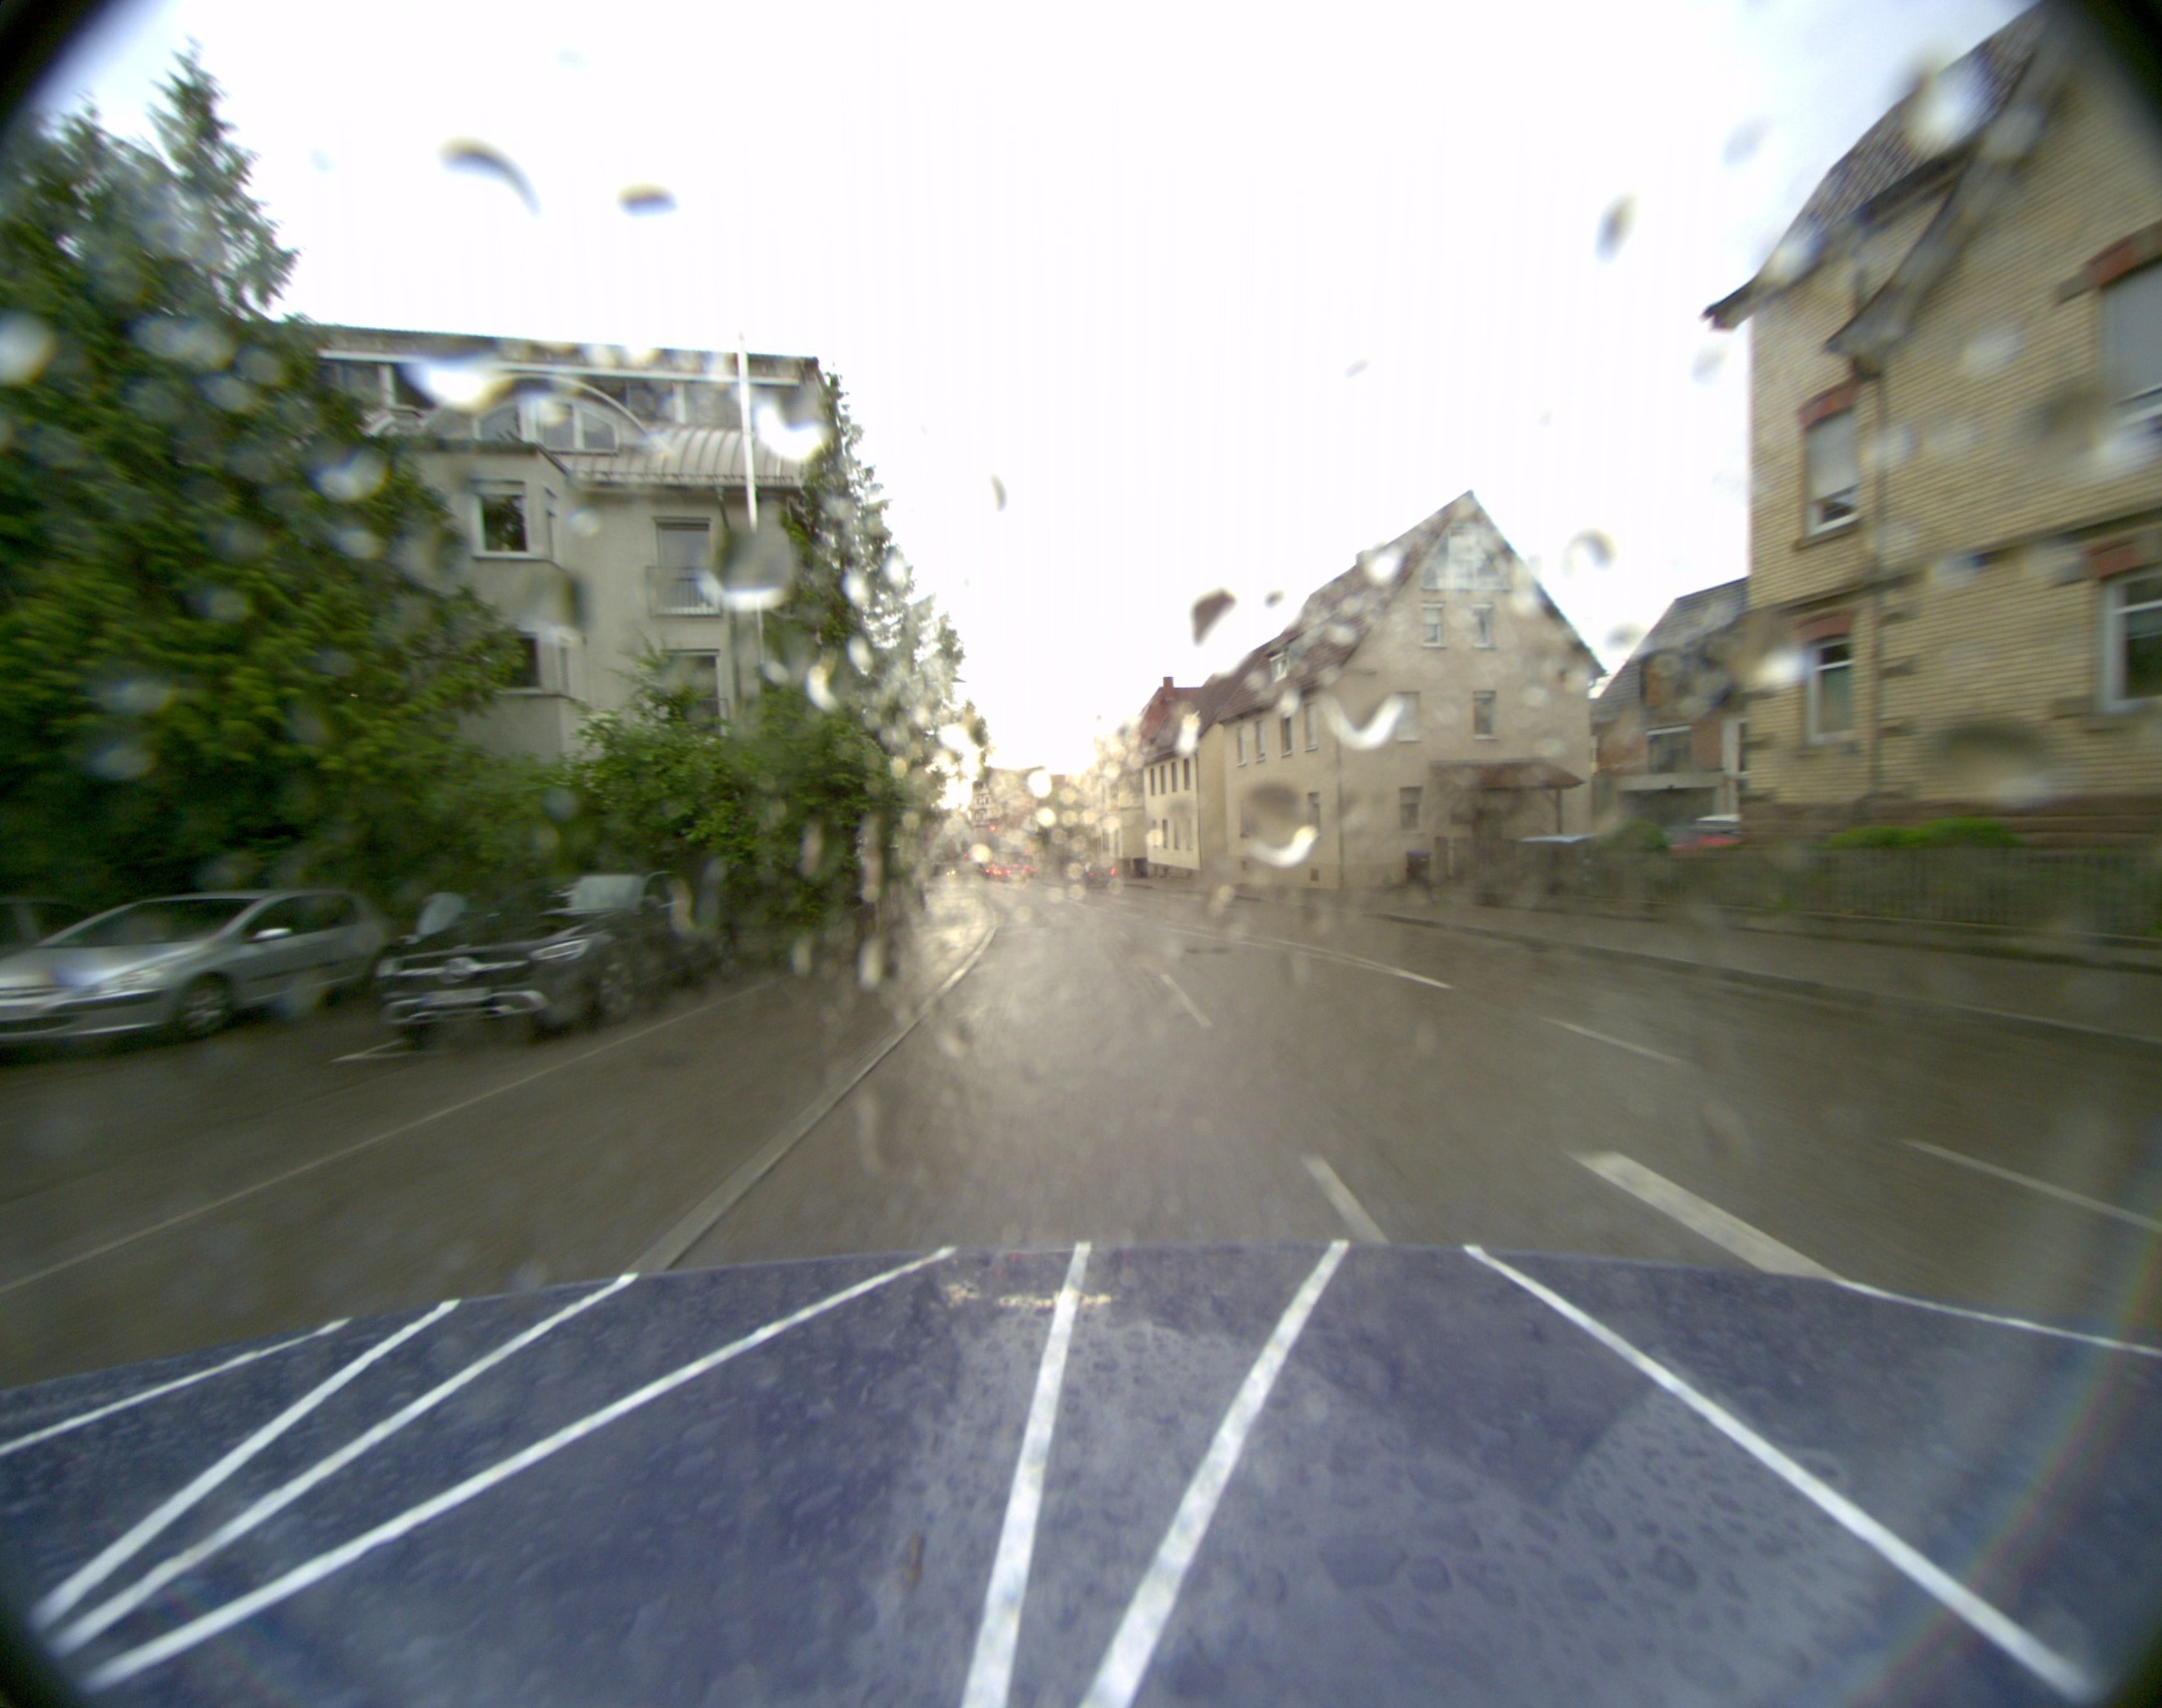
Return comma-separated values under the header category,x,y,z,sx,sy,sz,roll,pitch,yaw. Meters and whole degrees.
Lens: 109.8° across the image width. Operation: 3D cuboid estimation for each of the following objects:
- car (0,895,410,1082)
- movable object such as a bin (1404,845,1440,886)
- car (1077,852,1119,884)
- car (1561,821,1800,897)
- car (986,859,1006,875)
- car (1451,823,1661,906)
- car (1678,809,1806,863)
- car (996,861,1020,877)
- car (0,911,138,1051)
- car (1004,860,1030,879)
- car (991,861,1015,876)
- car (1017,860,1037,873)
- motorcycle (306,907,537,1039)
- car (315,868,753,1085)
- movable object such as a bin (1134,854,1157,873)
category,x,y,z,sx,sy,sz,roll,pitch,yaw
car,-9.985,1.300,8.576,1.744,1.426,4.021,-2,0,-10
movable object such as a bin,10.758,0.348,23.961,0.758,1.240,0.649,-2,0,-9
car,0.904,0.753,42.674,1.750,1.562,3.811,-6,1,-6
car,12.957,0.129,16.761,1.776,1.359,3.880,-4,0,-10
car,-9.651,1.483,85.798,1.854,1.653,4.216,-4,0,-10
car,10.231,0.233,16.766,1.776,1.494,3.880,-4,0,-8
car,23.618,-0.637,27.204,3.260,1.591,1.763,-5,1,-11
car,-6.993,1.411,72.791,1.805,1.431,4.685,-4,0,-10
car,-12.454,1.446,7.826,1.612,1.426,3.317,-2,0,-10
car,-5.469,1.296,64.785,1.805,1.431,4.686,-4,0,-9
car,-8.146,1.504,78.689,1.947,1.432,5.011,-4,0,-11
car,-6.114,1.442,86.160,1.743,1.346,4.056,-4,0,-11
motorcycle,-7.805,1.328,9.220,0.854,1.170,2.492,-3,0,-8
car,-5.544,1.052,8.681,1.786,1.561,4.725,-5,0,-5
movable object such as a bin,4.502,0.674,53.369,1.284,1.259,1.049,-4,0,-11
